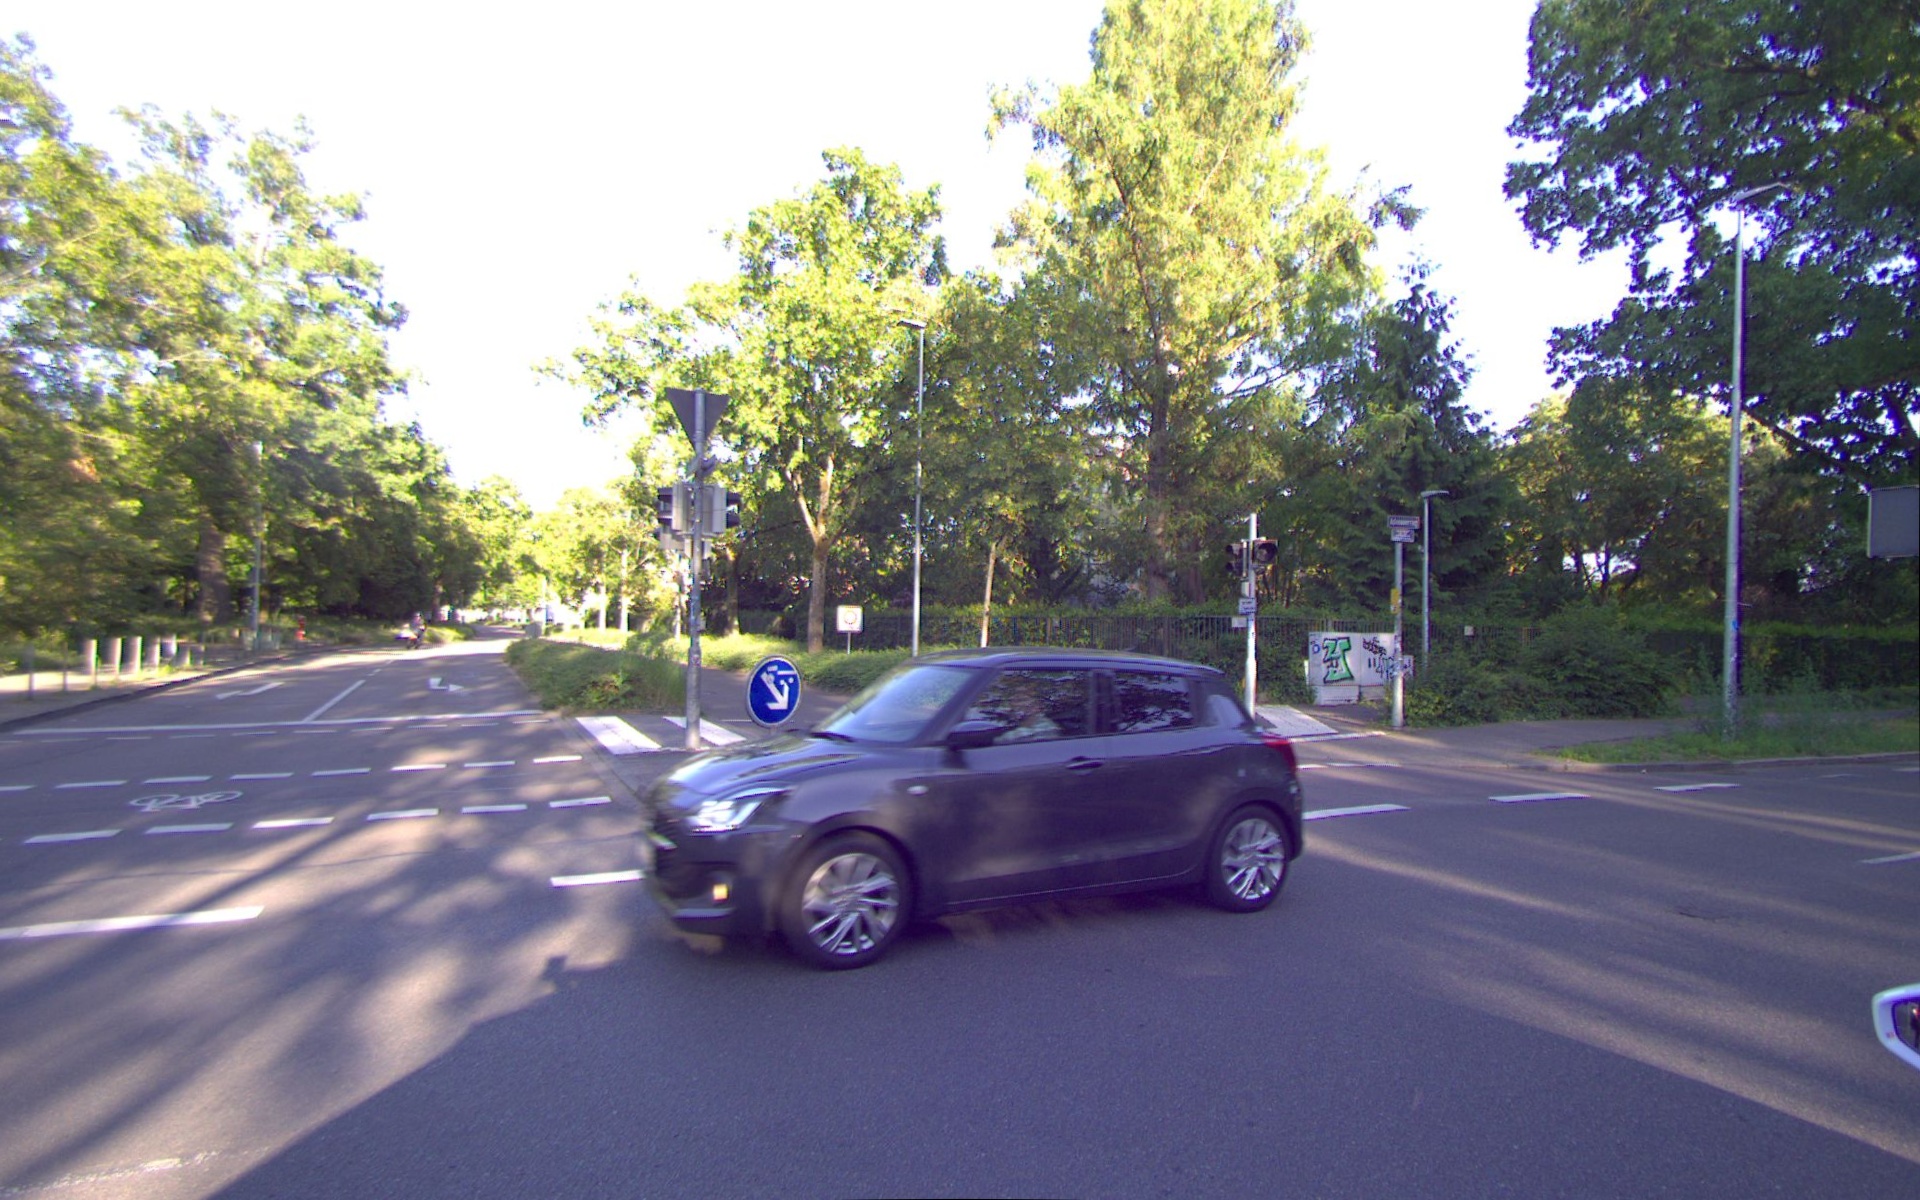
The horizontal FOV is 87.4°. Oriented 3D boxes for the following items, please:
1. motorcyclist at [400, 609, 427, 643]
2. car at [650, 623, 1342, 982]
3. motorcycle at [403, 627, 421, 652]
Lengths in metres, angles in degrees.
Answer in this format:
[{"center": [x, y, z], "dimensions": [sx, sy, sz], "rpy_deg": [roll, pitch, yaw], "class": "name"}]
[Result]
[{"center": [-24.923, 1.182, 45.839], "dimensions": [0.938, 1.490, 1.063], "rpy_deg": [2, -1, -24], "class": "motorcyclist"}, {"center": [0.232, 0.942, 5.752], "dimensions": [3.593, 1.472, 1.702], "rpy_deg": [2, -4, -27], "class": "car"}, {"center": [-25.039, 1.780, 45.925], "dimensions": [0.517, 1.083, 2.274], "rpy_deg": [2, -2, -24], "class": "motorcycle"}]
